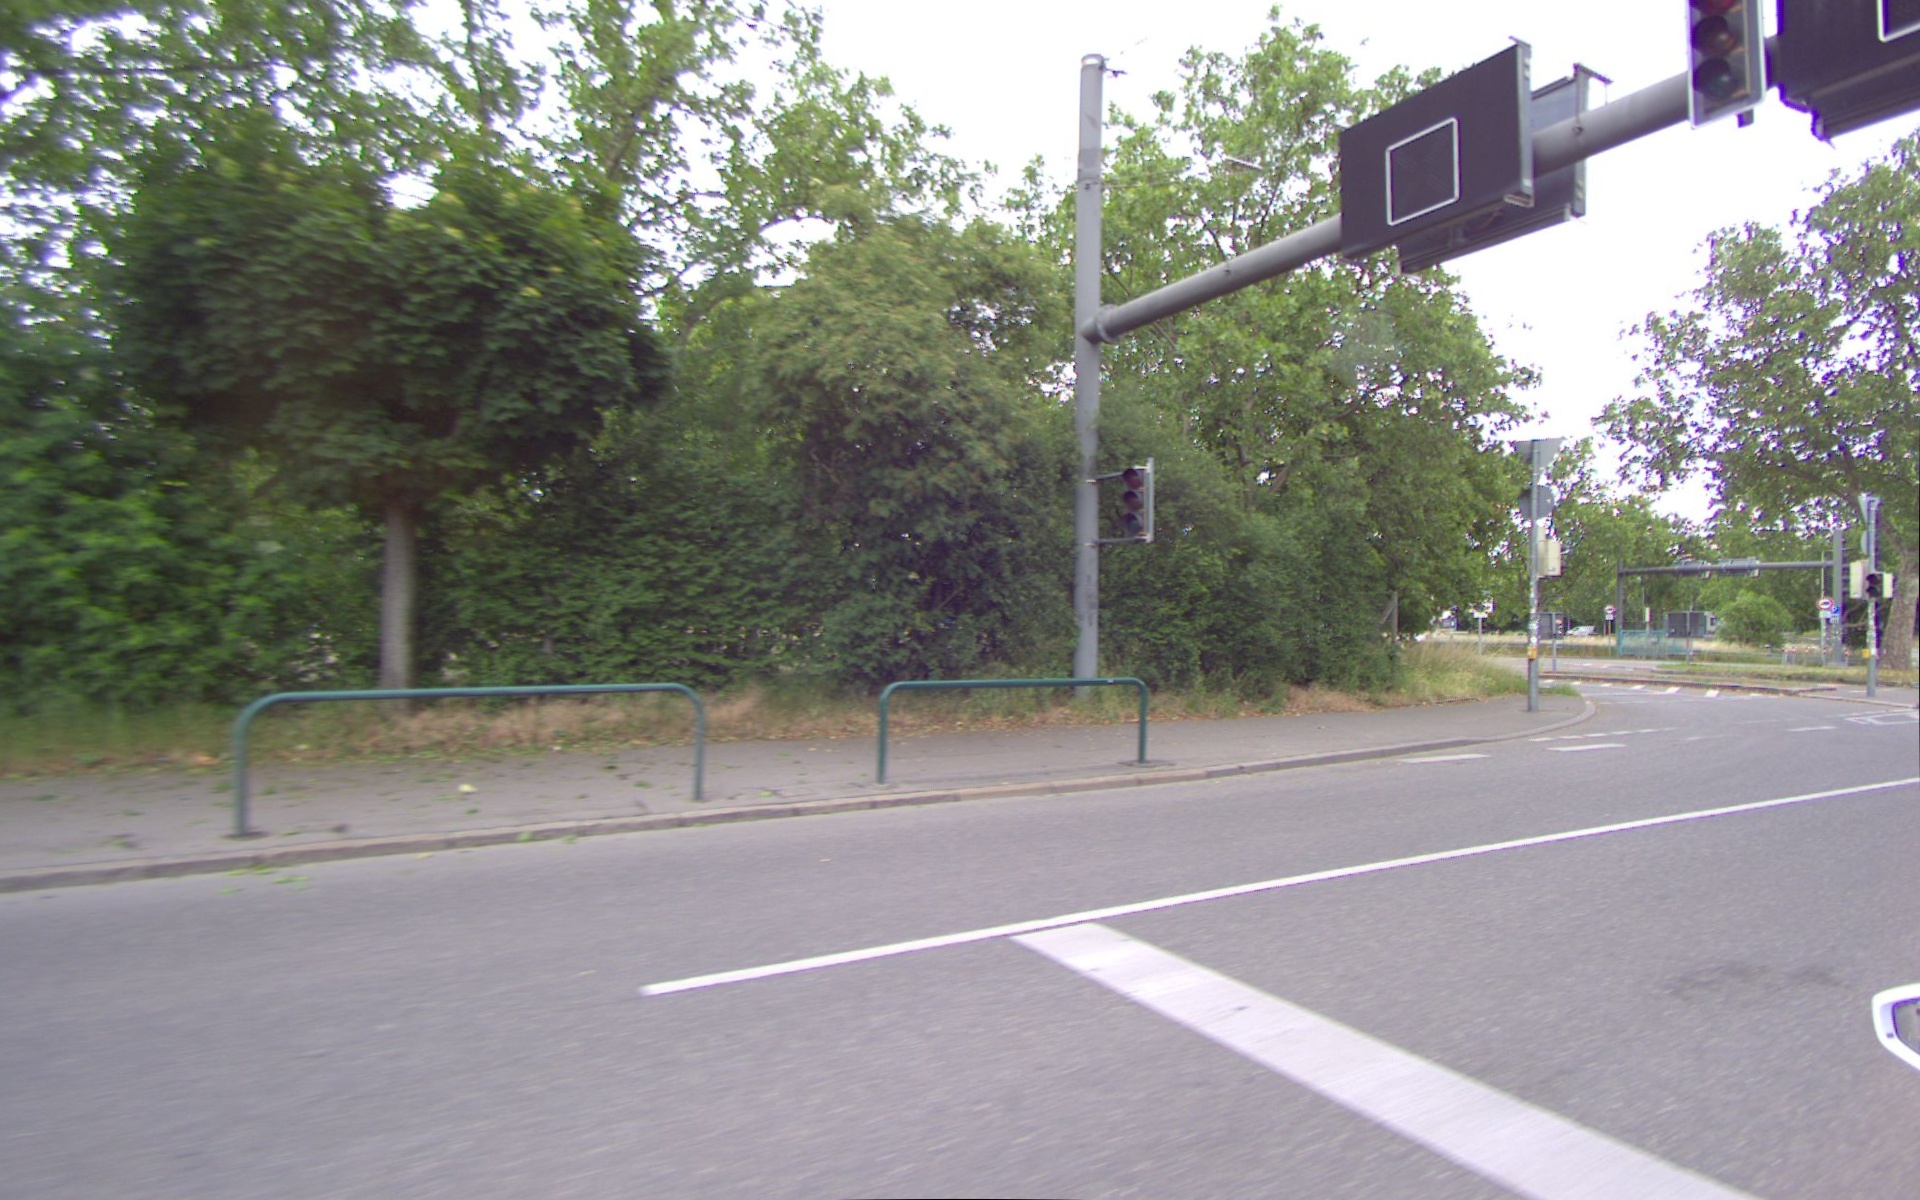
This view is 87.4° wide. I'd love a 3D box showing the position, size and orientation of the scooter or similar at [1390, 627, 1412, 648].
[{"bbox_3d":[26.230,2.233,59.715,1.200,1.237,0.414,1,0,-18],"label":"scooter or similar"}]
